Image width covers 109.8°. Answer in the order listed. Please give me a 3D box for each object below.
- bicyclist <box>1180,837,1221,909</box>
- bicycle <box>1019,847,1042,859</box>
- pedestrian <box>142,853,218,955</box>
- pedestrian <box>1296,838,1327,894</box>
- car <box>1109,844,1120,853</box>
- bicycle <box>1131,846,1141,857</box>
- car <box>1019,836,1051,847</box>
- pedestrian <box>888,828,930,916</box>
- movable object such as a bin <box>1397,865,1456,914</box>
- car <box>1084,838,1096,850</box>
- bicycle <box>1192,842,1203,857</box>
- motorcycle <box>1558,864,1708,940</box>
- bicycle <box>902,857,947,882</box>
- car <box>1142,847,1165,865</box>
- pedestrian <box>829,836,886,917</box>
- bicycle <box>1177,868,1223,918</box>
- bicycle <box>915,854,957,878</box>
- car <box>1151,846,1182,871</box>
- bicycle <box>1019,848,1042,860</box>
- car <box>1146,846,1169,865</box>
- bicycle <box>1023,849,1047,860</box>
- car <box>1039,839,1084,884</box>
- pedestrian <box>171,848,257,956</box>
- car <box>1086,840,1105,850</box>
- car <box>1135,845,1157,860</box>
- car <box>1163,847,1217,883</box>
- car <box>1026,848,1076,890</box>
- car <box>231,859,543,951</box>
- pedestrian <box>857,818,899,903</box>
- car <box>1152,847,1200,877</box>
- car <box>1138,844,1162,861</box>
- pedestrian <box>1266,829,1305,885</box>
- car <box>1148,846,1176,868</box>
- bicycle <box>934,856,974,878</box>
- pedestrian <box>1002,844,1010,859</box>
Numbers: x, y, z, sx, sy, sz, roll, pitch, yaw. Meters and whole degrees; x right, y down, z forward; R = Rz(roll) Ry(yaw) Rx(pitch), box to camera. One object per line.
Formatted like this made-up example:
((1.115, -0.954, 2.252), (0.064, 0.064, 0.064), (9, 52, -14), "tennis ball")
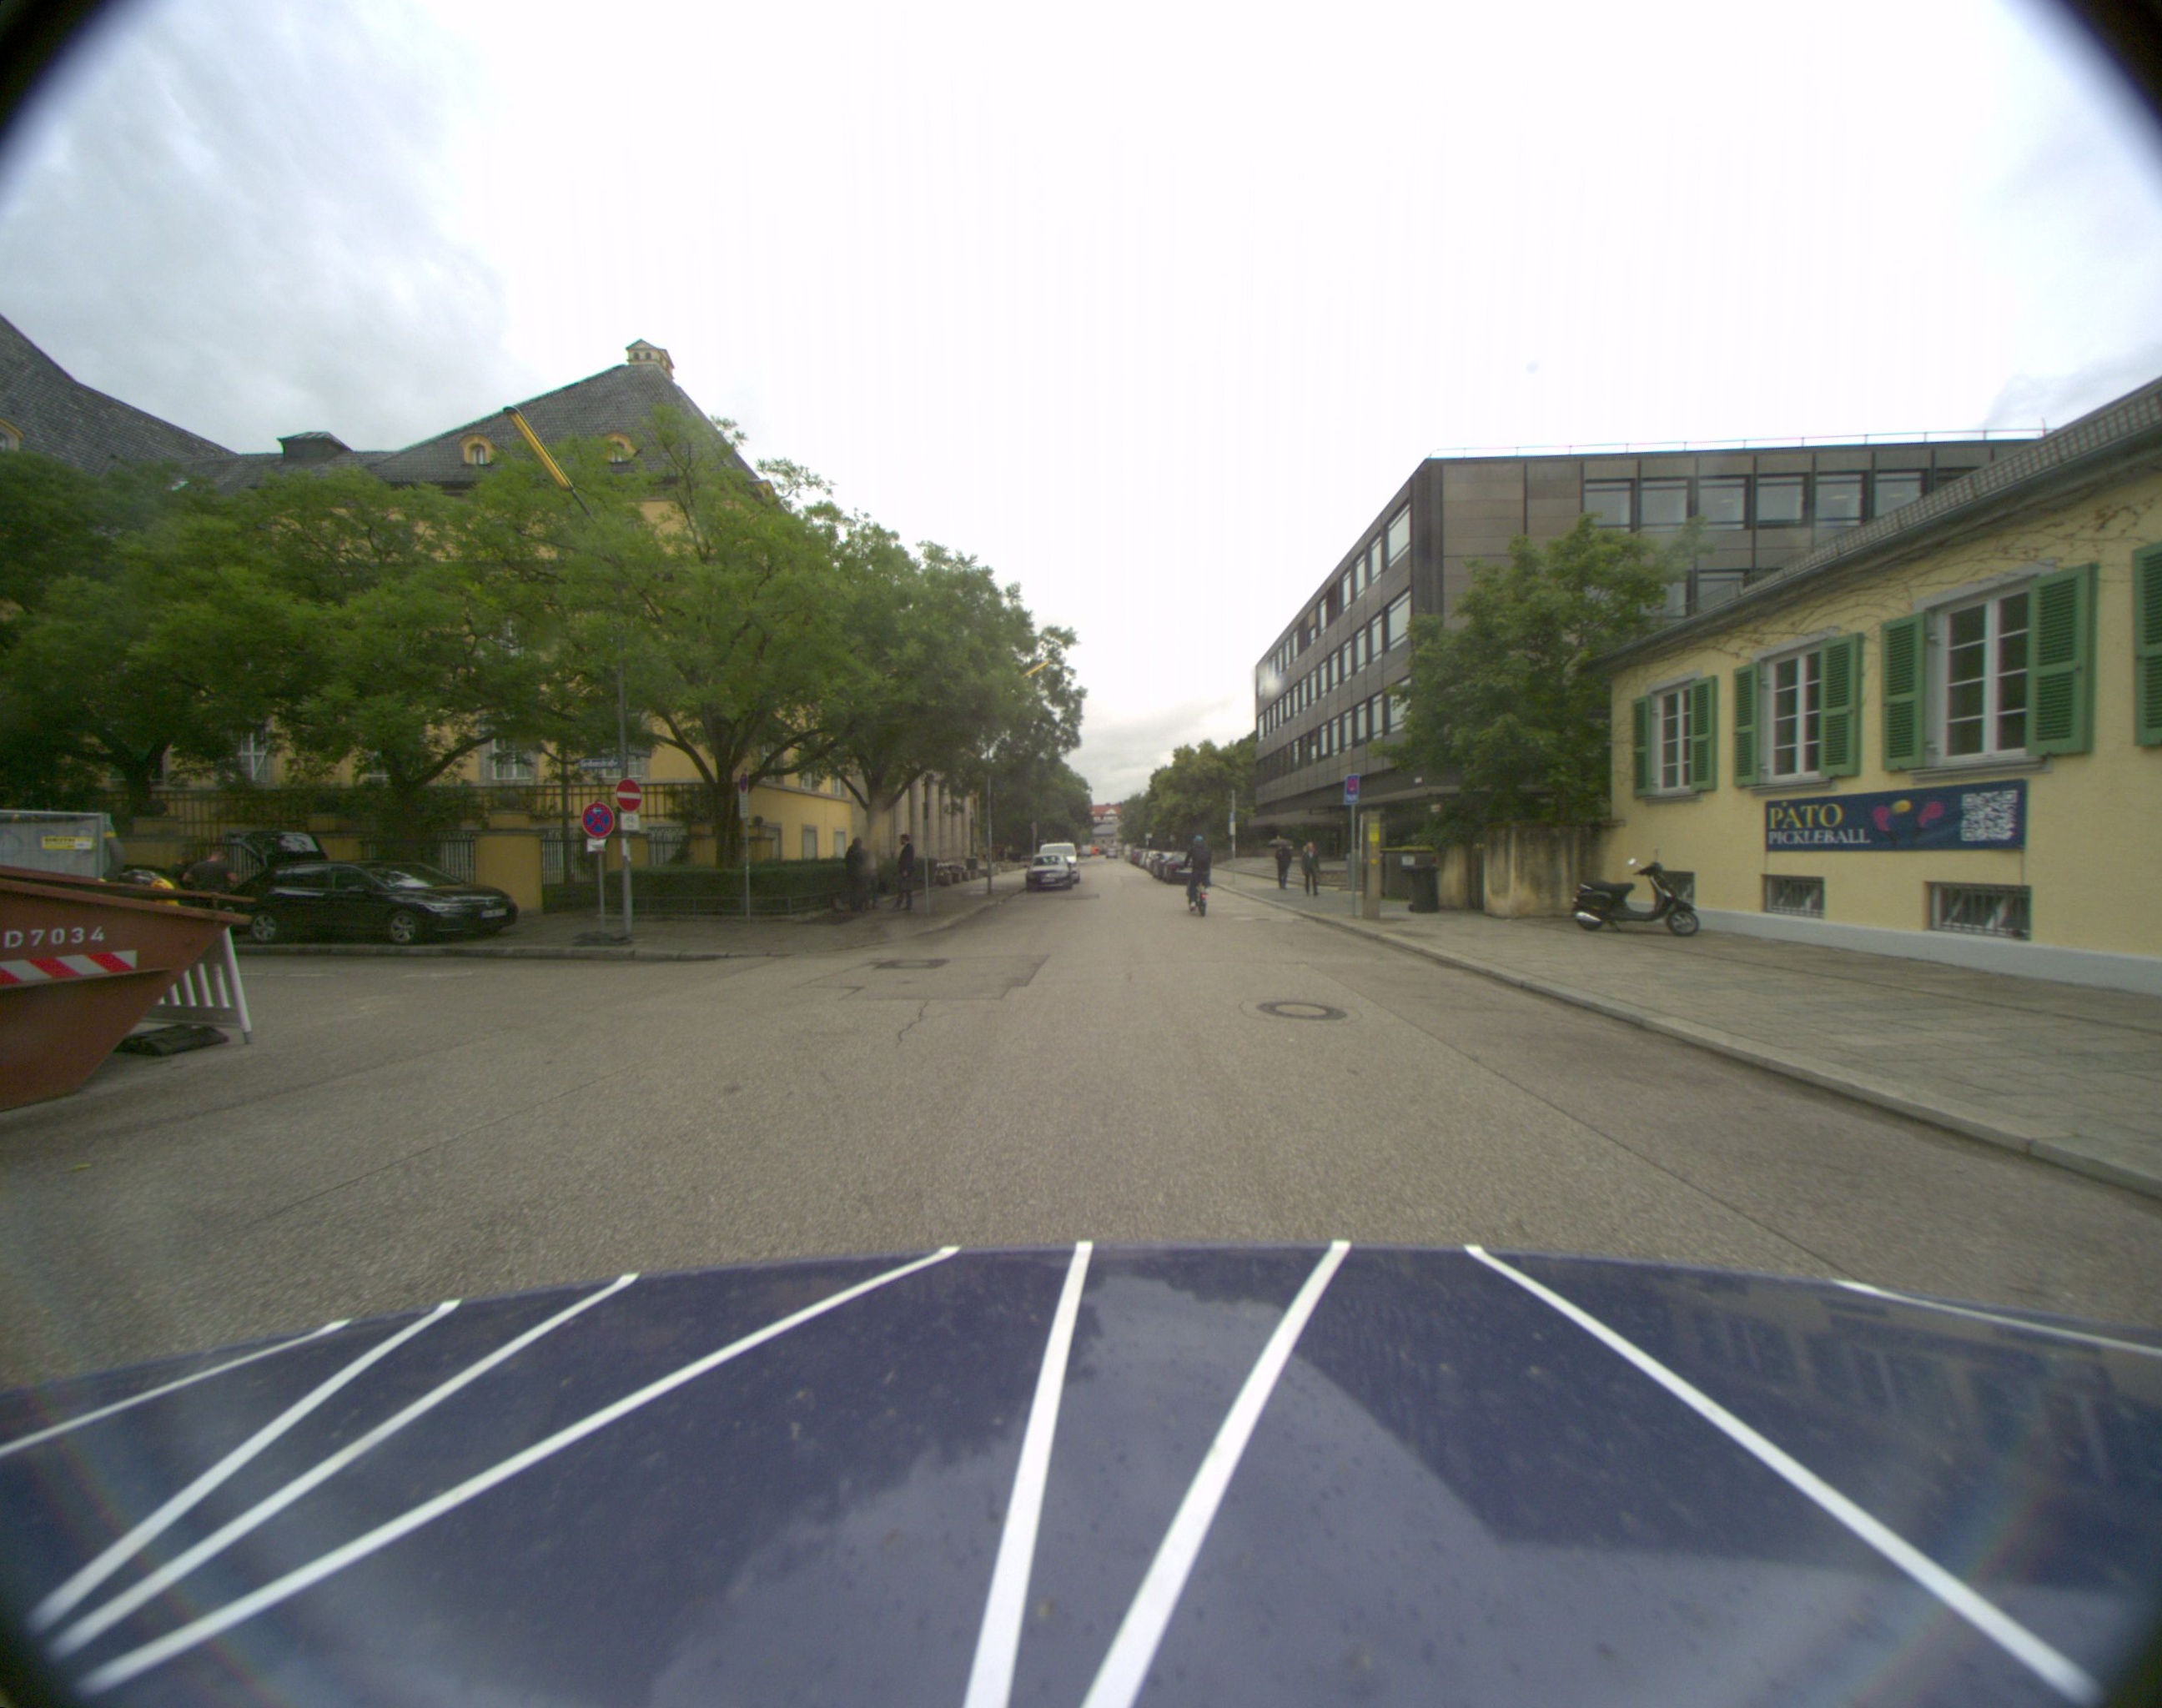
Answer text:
((2.687, 0.408, 17.142), (0.745, 1.567, 0.977), (-1, 1, -1), "bicyclist")
((-5.408, -0.114, 81.246), (2.264, 1.053, 0.601), (4, 1, -9), "bicycle")
((-15.784, 0.858, 13.321), (0.561, 1.742, 0.589), (0, 2, -7), "pedestrian")
((7.454, 0.361, 24.563), (0.754, 1.739, 0.953), (-3, 1, 9), "pedestrian")
((6.105, -1.031, 138.058), (2.029, 1.679, 4.678), (0, 1, 3), "car")
((6.796, -0.269, 93.919), (0.574, 1.275, 1.421), (-2, 1, 35), "bicycle")
((-7.180, -1.968, 118.307), (4.908, 1.672, 1.966), (-1, 1, 0), "car")
((-4.246, 0.432, 18.798), (0.744, 2.122, 1.056), (0, 1, 2), "pedestrian")
((7.800, 0.790, 17.204), (0.937, 1.057, 0.840), (-1, 1, 0), "movable object such as a bin")
((1.914, -2.121, 162.623), (2.236, 2.289, 4.728), (-4, 1, -3), "car")
((9.334, -0.342, 60.846), (0.644, 1.158, 1.527), (-3, 1, 1), "bicycle")
((8.721, 0.717, 12.090), (0.559, 1.095, 1.833), (-3, 1, -34), "motorcycle")
((-7.039, 0.691, 34.231), (1.936, 1.107, 0.471), (0, 1, 4), "bicycle")
((6.071, 0.128, 64.194), (1.762, 1.392, 4.217), (2, 1, 3), "car")
((-5.402, 0.509, 18.403), (0.742, 1.897, 1.058), (1, 2, 38), "pedestrian")
((2.681, 0.857, 17.354), (0.623, 0.998, 2.139), (-2, 1, -2), "bicycle")
((-6.913, 0.585, 36.267), (1.936, 1.107, 0.471), (0, 1, 4), "bicycle")
((5.400, 0.237, 48.505), (1.744, 1.453, 4.237), (1, 1, 4), "car")
((-5.284, 0.001, 79.470), (2.264, 1.088, 0.601), (4, 1, -9), "bicycle")
((5.905, 0.098, 59.099), (1.547, 1.462, 3.553), (1, 1, 2), "car")
((-4.731, 0.061, 78.257), (2.370, 1.000, 0.677), (2, 1, -7), "bicycle")
((-0.869, 0.302, 36.998), (1.849, 1.922, 5.272), (-4, 1, 1), "car")
((-15.095, 0.810, 13.251), (0.672, 1.799, 0.684), (-1, 2, -17), "pedestrian")
((4.254, -2.664, 225.446), (2.577, 2.521, 4.974), (-5, 2, -45), "car")
((6.538, -0.145, 76.857), (1.998, 1.452, 4.647), (0, 1, 3), "car")
((4.932, 0.446, 34.953), (1.998, 1.482, 4.883), (1, 1, 3), "car")
((-1.129, 0.543, 31.026), (1.776, 1.481, 4.972), (-3, 1, 0), "car")
((-12.605, 0.891, 13.955), (4.213, 1.478, 1.869), (-1, 2, 7), "car")
((-5.225, 0.156, 19.624), (0.744, 2.122, 1.056), (0, 1, 2), "pedestrian")
((4.967, 0.383, 40.218), (1.927, 1.431, 4.917), (1, 1, 1), "car")
((6.313, -0.162, 70.124), (1.998, 1.574, 4.522), (0, 1, 2), "car")
((7.604, 0.099, 28.259), (1.138, 2.043, 1.221), (0, 1, 1), "pedestrian")
((5.692, 0.202, 53.534), (1.685, 1.432, 4.279), (2, 1, 3), "car")
((-6.431, 0.658, 38.473), (1.936, 1.107, 0.471), (0, 1, -1), "bicycle")
((-8.699, -0.310, 88.231), (0.790, 1.736, 1.056), (0, 1, 2), "pedestrian")
